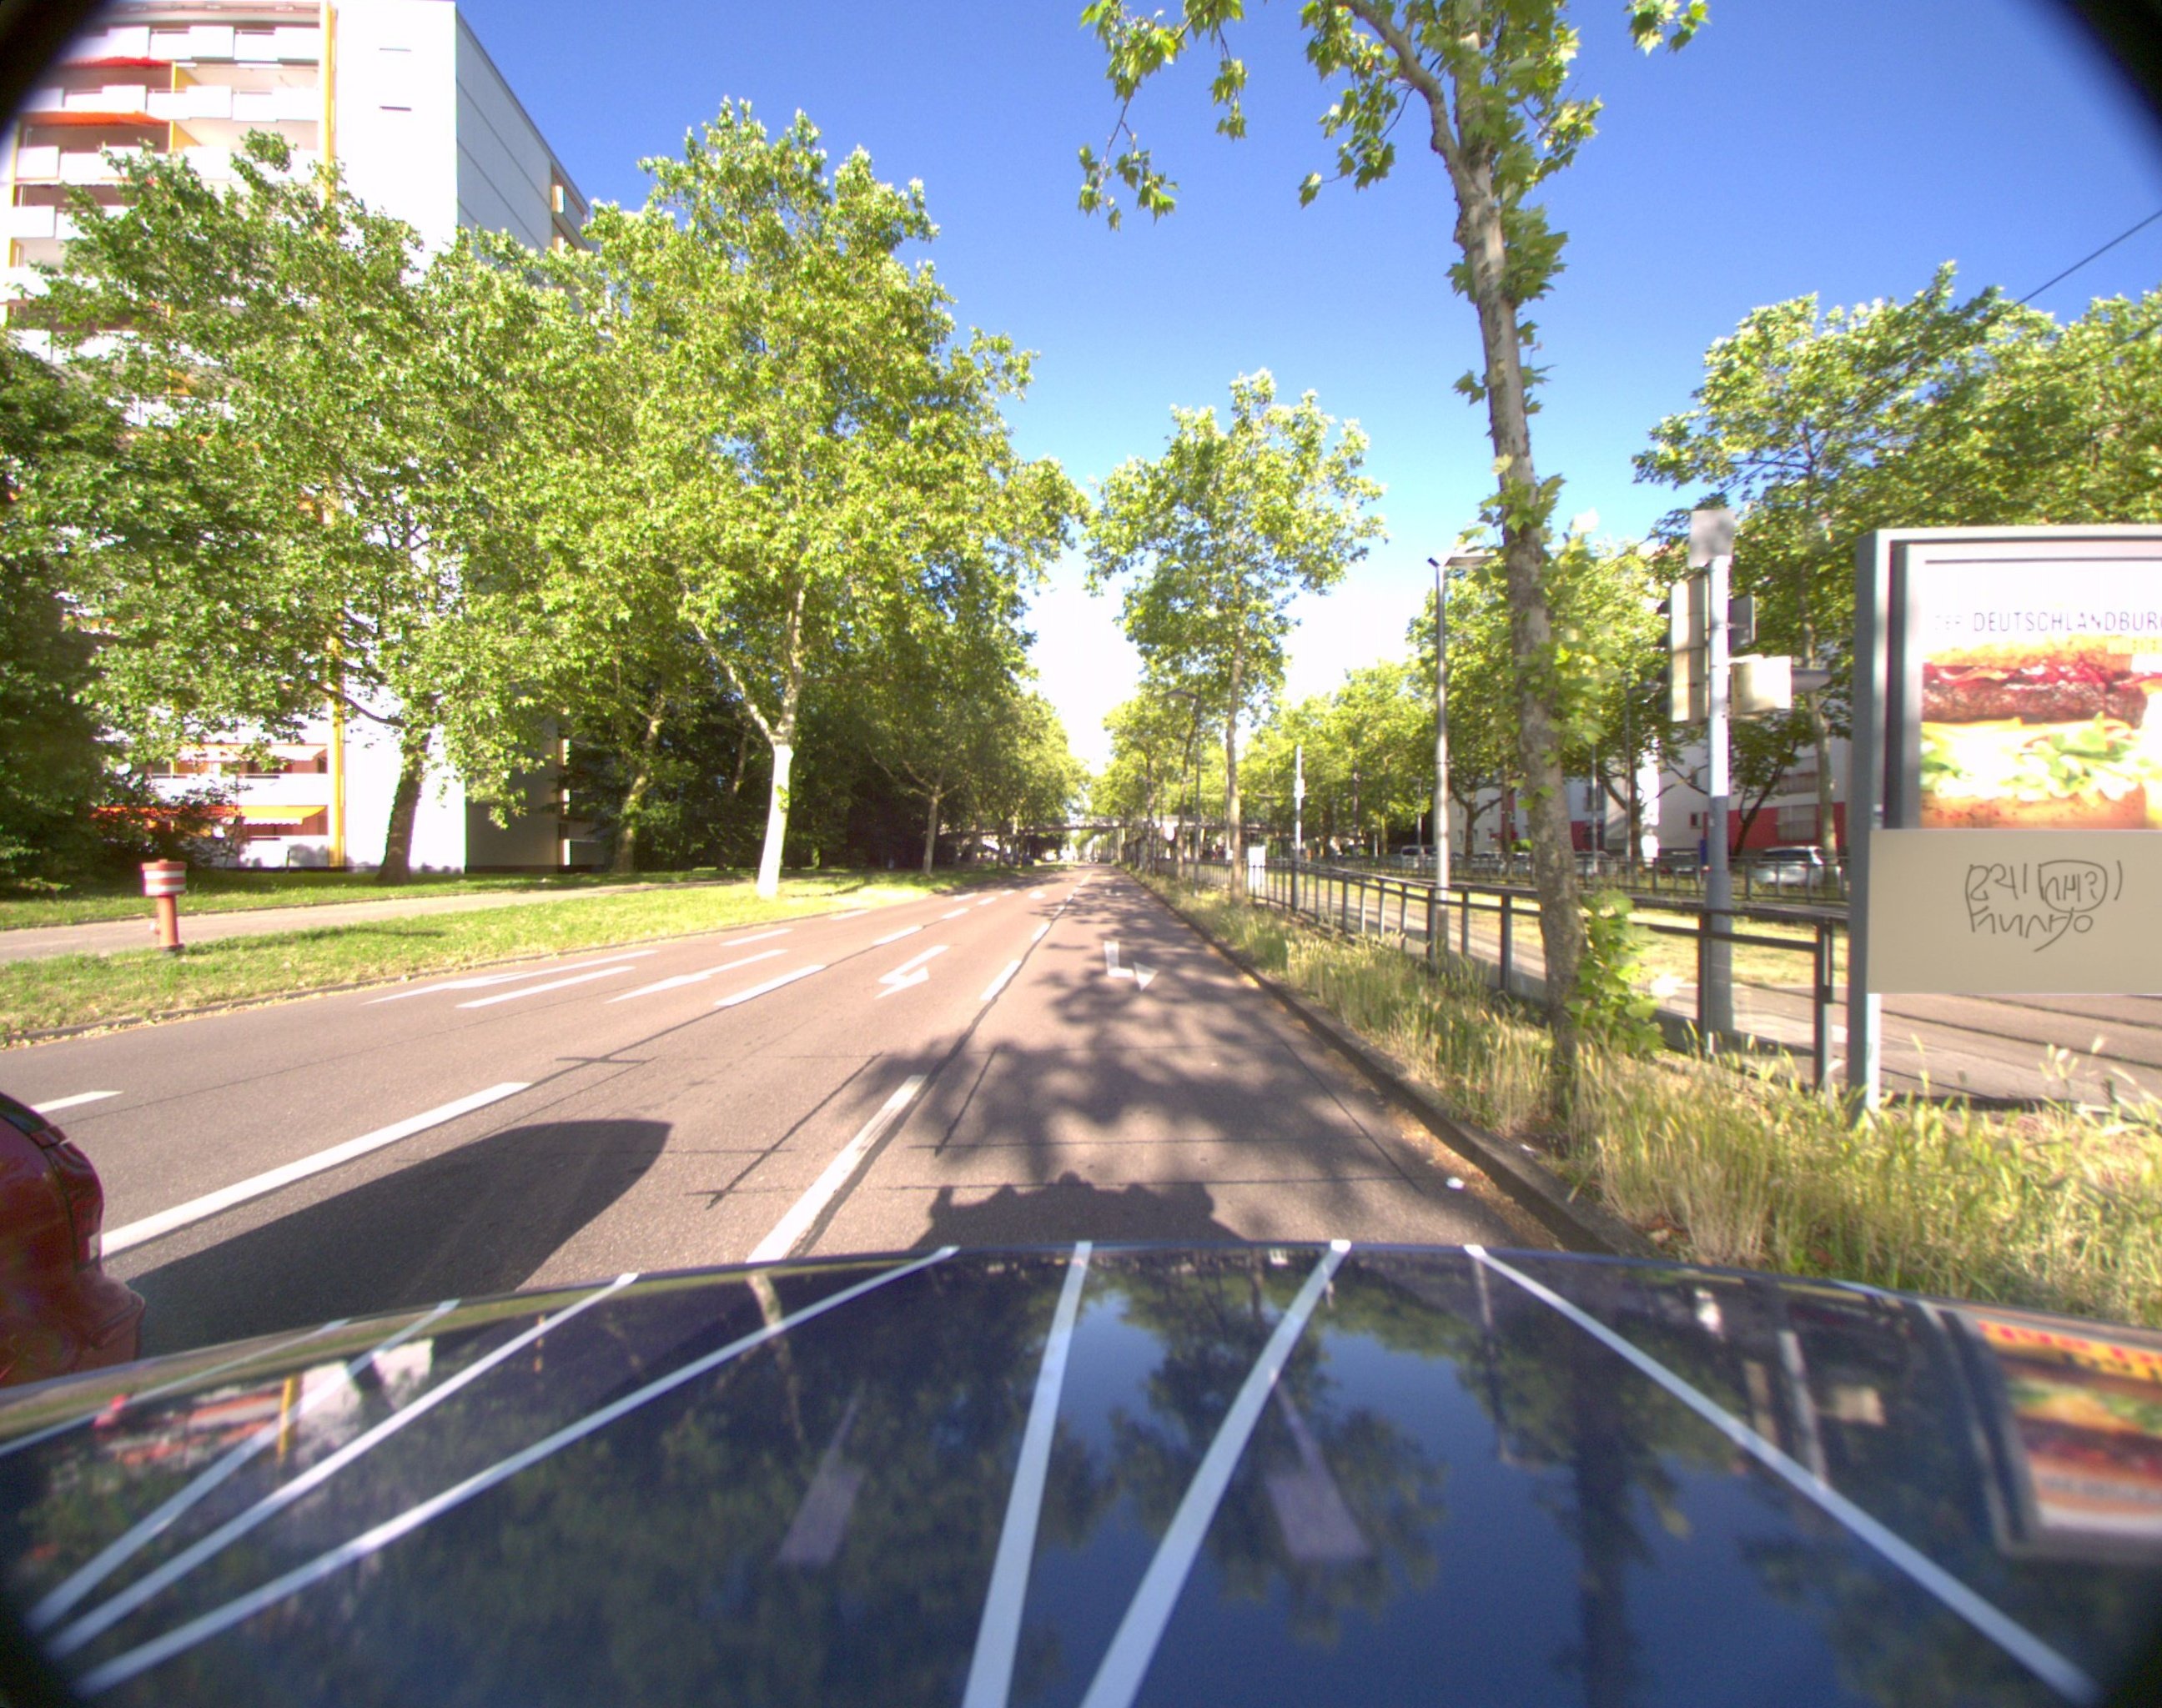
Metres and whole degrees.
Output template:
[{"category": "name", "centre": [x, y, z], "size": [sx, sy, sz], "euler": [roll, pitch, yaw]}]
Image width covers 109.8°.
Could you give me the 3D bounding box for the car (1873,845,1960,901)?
[{"category": "car", "centre": [25.243, 0.526, 22.968], "size": [3.811, 1.501, 1.652], "euler": [-2, 0, -42]}]

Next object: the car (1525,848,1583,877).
[{"category": "car", "centre": [25.862, 0.445, 41.481], "size": [3.811, 1.433, 1.652], "euler": [-2, 0, -42]}]

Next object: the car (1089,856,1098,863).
[{"category": "car", "centre": [2.426, 1.066, 147.542], "size": [1.580, 1.395, 3.638], "euler": [-2, 0, 0]}]

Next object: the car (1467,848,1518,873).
[{"category": "car", "centre": [25.849, 0.400, 47.681], "size": [3.811, 1.433, 1.652], "euler": [-2, 0, -42]}]

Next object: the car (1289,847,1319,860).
[{"category": "car", "centre": [26.436, -0.045, 89.977], "size": [3.811, 1.433, 1.652], "euler": [-2, 0, -42]}]

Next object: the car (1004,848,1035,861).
[{"category": "car", "centre": [-9.659, 0.041, 118.918], "size": [4.720, 1.924, 1.906], "euler": [-2, 0, -8]}]

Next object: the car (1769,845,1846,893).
[{"category": "car", "centre": [25.356, 0.491, 26.477], "size": [3.811, 1.501, 1.652], "euler": [-2, 0, -42]}]

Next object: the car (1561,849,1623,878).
[{"category": "car", "centre": [25.381, 0.450, 37.700], "size": [3.811, 1.348, 1.652], "euler": [-2, 0, -42]}]

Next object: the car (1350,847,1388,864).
[{"category": "car", "centre": [26.616, 0.137, 70.136], "size": [3.811, 1.433, 1.652], "euler": [-2, 0, -42]}]

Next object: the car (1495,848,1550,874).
[{"category": "car", "centre": [26.097, 0.409, 44.866], "size": [3.811, 1.433, 1.652], "euler": [-2, 0, -42]}]

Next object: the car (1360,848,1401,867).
[{"category": "car", "centre": [24.941, 0.274, 63.211], "size": [3.811, 1.433, 1.652], "euler": [-2, 0, -42]}]

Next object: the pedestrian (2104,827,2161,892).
[{"category": "pedestrian", "centre": [29.119, 0.139, 20.948], "size": [0.764, 1.723, 0.786], "euler": [-2, 1, -1]}]

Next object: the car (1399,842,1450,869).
[{"category": "car", "centre": [25.816, 0.091, 57.032], "size": [4.330, 1.863, 1.836], "euler": [-2, 0, -42]}]

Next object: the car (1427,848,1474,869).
[{"category": "car", "centre": [26.300, 0.312, 54.034], "size": [3.811, 1.433, 1.652], "euler": [-2, 0, -42]}]

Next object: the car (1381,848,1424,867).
[{"category": "car", "centre": [25.727, 0.271, 60.754], "size": [3.811, 1.433, 1.652], "euler": [-2, 0, -42]}]

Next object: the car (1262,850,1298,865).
[{"category": "car", "centre": [21.084, 0.338, 80.687], "size": [1.657, 1.501, 4.637], "euler": [-2, 0, -14]}]

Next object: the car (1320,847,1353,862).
[{"category": "car", "centre": [26.783, 0.047, 79.627], "size": [3.811, 1.433, 1.652], "euler": [-2, 0, -42]}]

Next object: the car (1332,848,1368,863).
[{"category": "car", "centre": [26.063, 0.136, 73.567], "size": [3.811, 1.433, 1.652], "euler": [-2, 0, -42]}]
